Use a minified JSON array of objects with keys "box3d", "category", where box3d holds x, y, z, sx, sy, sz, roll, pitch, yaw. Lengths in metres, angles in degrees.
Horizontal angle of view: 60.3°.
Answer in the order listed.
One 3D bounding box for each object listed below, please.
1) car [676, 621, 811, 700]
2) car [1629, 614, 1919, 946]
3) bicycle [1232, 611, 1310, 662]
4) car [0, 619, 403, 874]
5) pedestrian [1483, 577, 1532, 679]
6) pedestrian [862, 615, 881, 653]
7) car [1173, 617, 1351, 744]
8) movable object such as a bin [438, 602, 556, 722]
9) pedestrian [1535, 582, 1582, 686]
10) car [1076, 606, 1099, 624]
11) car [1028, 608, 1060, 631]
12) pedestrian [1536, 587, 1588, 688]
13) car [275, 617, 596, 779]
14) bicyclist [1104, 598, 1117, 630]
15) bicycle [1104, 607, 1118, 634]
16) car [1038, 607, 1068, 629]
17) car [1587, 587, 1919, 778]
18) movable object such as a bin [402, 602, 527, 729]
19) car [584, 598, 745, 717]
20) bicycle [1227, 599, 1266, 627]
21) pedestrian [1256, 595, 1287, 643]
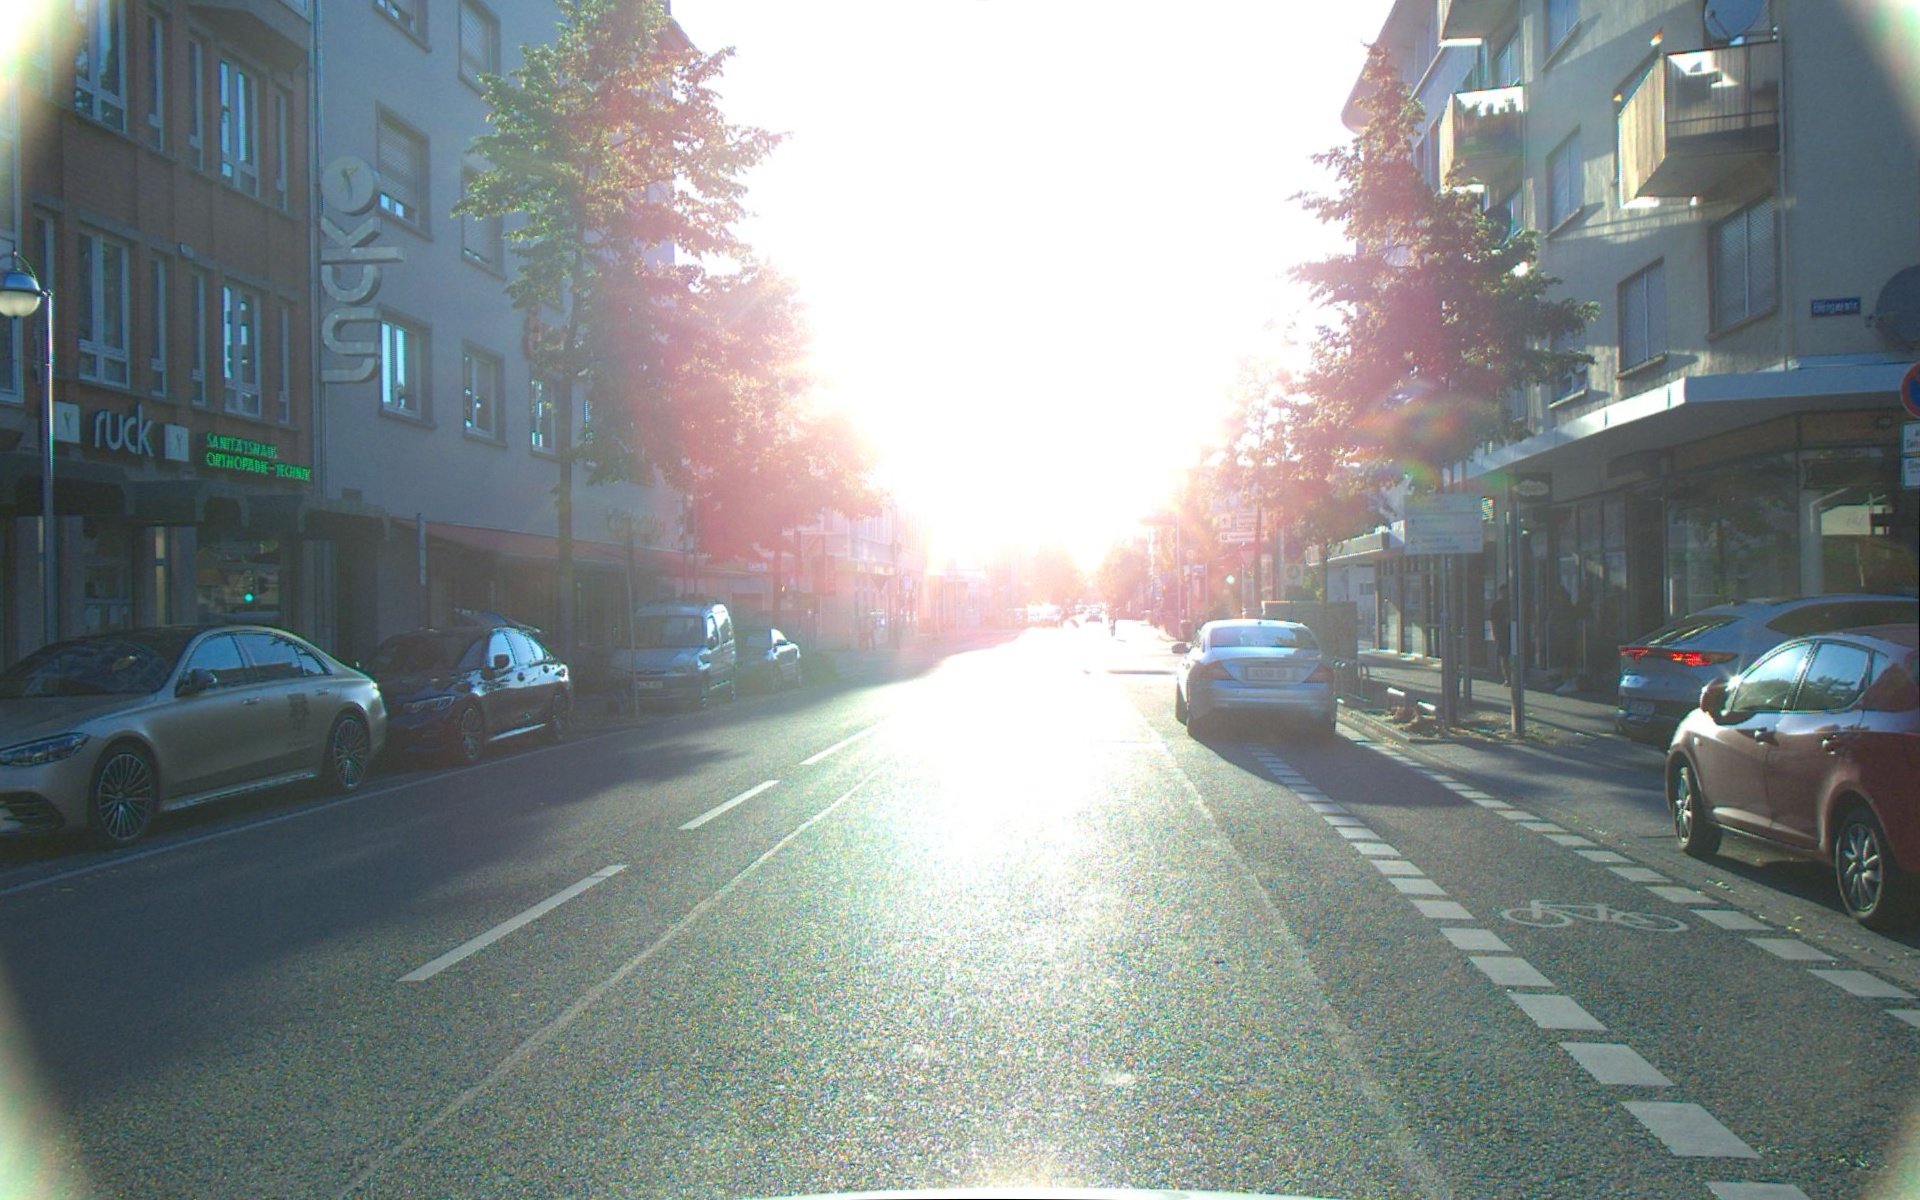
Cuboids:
[{"box3d":[-4.415,1.209,34.369,1.874,1.410,4.384,-2,0,4],"category":"car"},{"box3d":[5.356,0.843,9.367,1.686,1.446,4.034,-2,0,4],"category":"car"},{"box3d":[7.801,0.916,41.564,1.872,1.224,0.470,-1,-1,6],"category":"bicycle"},{"box3d":[-6.449,0.983,13.043,1.951,1.537,5.116,-2,0,5],"category":"car"},{"box3d":[10.000,0.503,30.223,0.693,1.839,0.650,1,0,5],"category":"pedestrian"},{"box3d":[-3.809,1.464,71.368,0.685,1.575,0.867,-1,-1,-12],"category":"pedestrian"},{"box3d":[3.791,0.954,21.451,1.763,1.402,4.554,1,0,4],"category":"car"},{"box3d":[-6.967,0.913,24.971,1.254,1.702,1.441,2,0,2],"category":"movable object such as a bin"},{"box3d":[10.605,0.597,29.327,0.570,1.814,0.526,1,0,-15],"category":"pedestrian"},{"box3d":[13.085,1.514,169.446,2.255,1.708,5.535,-1,0,5],"category":"car"},{"box3d":[6.522,1.475,127.851,2.255,1.708,5.535,-1,0,5],"category":"car"},{"box3d":[10.260,0.622,28.215,0.628,1.689,0.778,1,0,5],"category":"pedestrian"},{"box3d":[-5.807,1.012,18.997,1.874,1.537,4.641,-2,0,4],"category":"car"},{"box3d":[8.334,0.782,91.330,0.664,1.737,0.670,-1,-1,6],"category":"bicyclist"},{"box3d":[8.356,1.122,91.358,0.664,1.426,2.231,-1,0,6],"category":"bicycle"},{"box3d":[7.636,1.452,135.379,2.255,1.708,5.535,-1,0,5],"category":"car"},{"box3d":[8.439,0.722,15.875,4.085,1.639,1.856,-2,-1,-2],"category":"car"},{"box3d":[-7.032,0.904,23.539,1.253,1.702,1.369,2,0,2],"category":"movable object such as a bin"},{"box3d":[-4.973,0.922,28.393,1.875,1.818,4.149,-2,0,1],"category":"car"},{"box3d":[16.753,0.747,96.633,2.175,1.549,0.681,-1,-1,10],"category":"bicycle"},{"box3d":[11.818,0.708,62.759,0.789,1.756,0.991,-3,-2,33],"category":"pedestrian"}]
